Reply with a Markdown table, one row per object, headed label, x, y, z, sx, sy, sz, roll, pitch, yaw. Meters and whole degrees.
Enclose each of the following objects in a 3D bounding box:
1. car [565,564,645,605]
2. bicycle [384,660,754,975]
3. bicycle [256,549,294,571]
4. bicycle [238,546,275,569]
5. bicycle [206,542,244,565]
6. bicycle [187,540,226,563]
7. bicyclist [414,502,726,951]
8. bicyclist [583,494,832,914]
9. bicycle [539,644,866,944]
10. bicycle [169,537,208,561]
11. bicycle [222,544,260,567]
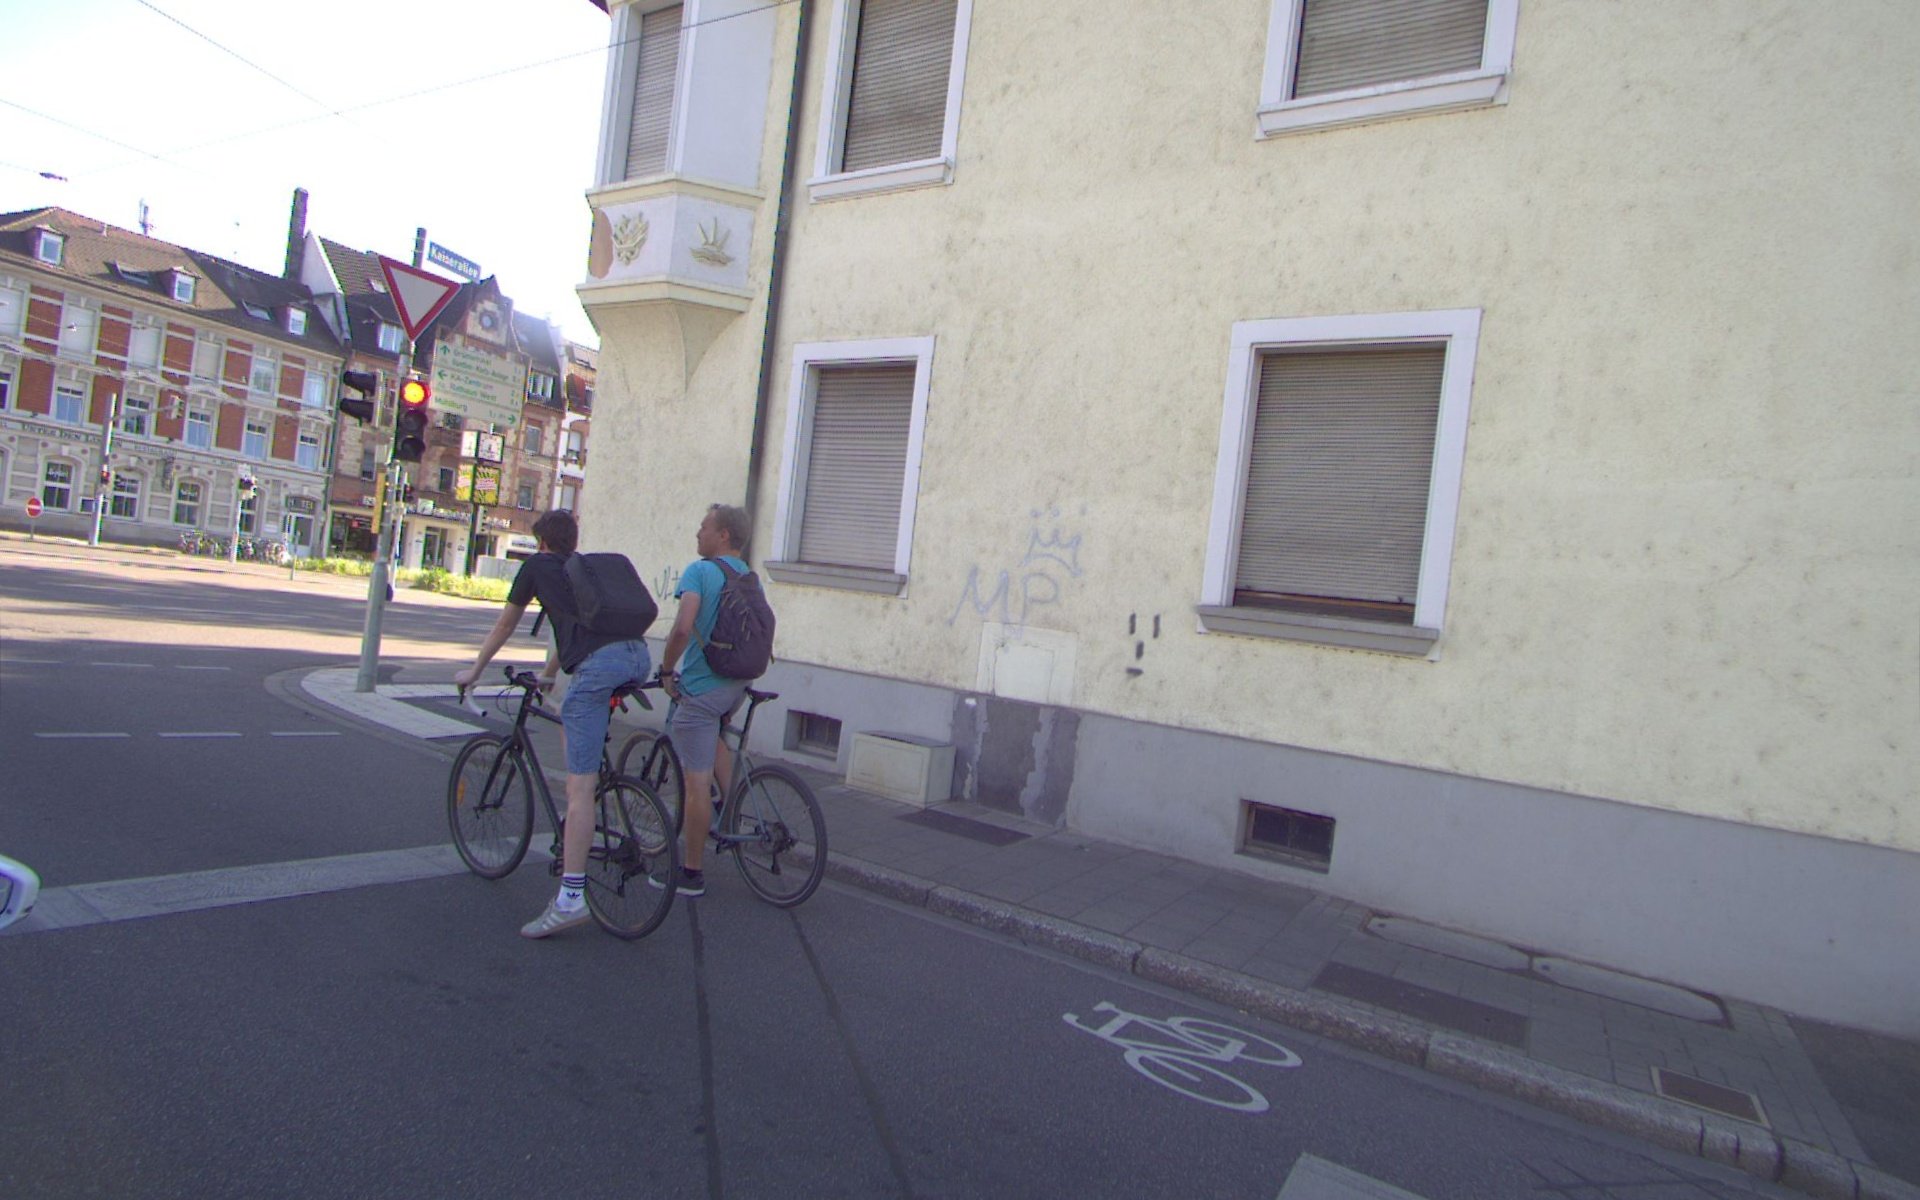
| label | x | y | z | sx | sy | sz | roll | pitch | yaw |
| --- | --- | --- | --- | --- | --- | --- | --- | --- | --- |
| car | -23.012 | -0.993 | 65.315 | 1.968 | 2.038 | 4.430 | 7 | -1 | 34 |
| bicycle | -1.791 | 0.875 | 4.497 | 1.721 | 0.982 | 0.519 | 7 | 0 | 32 |
| bicycle | -33.103 | -1.938 | 48.589 | 2.125 | 0.850 | 0.659 | 6 | -2 | 33 |
| bicycle | -33.491 | -2.017 | 47.884 | 2.125 | 0.850 | 0.659 | 6 | -2 | 33 |
| bicycle | -34.180 | -2.153 | 46.757 | 2.125 | 0.850 | 0.659 | 6 | -2 | 33 |
| bicycle | -34.553 | -2.227 | 46.136 | 2.125 | 0.850 | 0.659 | 6 | -2 | 33 |
| bicyclist | -1.743 | 0.491 | 4.477 | 1.098 | 1.722 | 0.573 | 7 | 0 | 32 |
| bicyclist | -1.337 | 0.499 | 5.279 | 0.930 | 1.958 | 0.518 | 10 | 2 | 35 |
| bicycle | -1.402 | 0.928 | 5.289 | 1.767 | 1.104 | 0.518 | 9 | 1 | 35 |
| bicycle | -34.870 | -2.296 | 45.469 | 2.125 | 0.850 | 0.659 | 6 | -2 | 33 |
| bicycle | -33.846 | -2.085 | 47.354 | 2.125 | 0.850 | 0.659 | 6 | -2 | 33 |
